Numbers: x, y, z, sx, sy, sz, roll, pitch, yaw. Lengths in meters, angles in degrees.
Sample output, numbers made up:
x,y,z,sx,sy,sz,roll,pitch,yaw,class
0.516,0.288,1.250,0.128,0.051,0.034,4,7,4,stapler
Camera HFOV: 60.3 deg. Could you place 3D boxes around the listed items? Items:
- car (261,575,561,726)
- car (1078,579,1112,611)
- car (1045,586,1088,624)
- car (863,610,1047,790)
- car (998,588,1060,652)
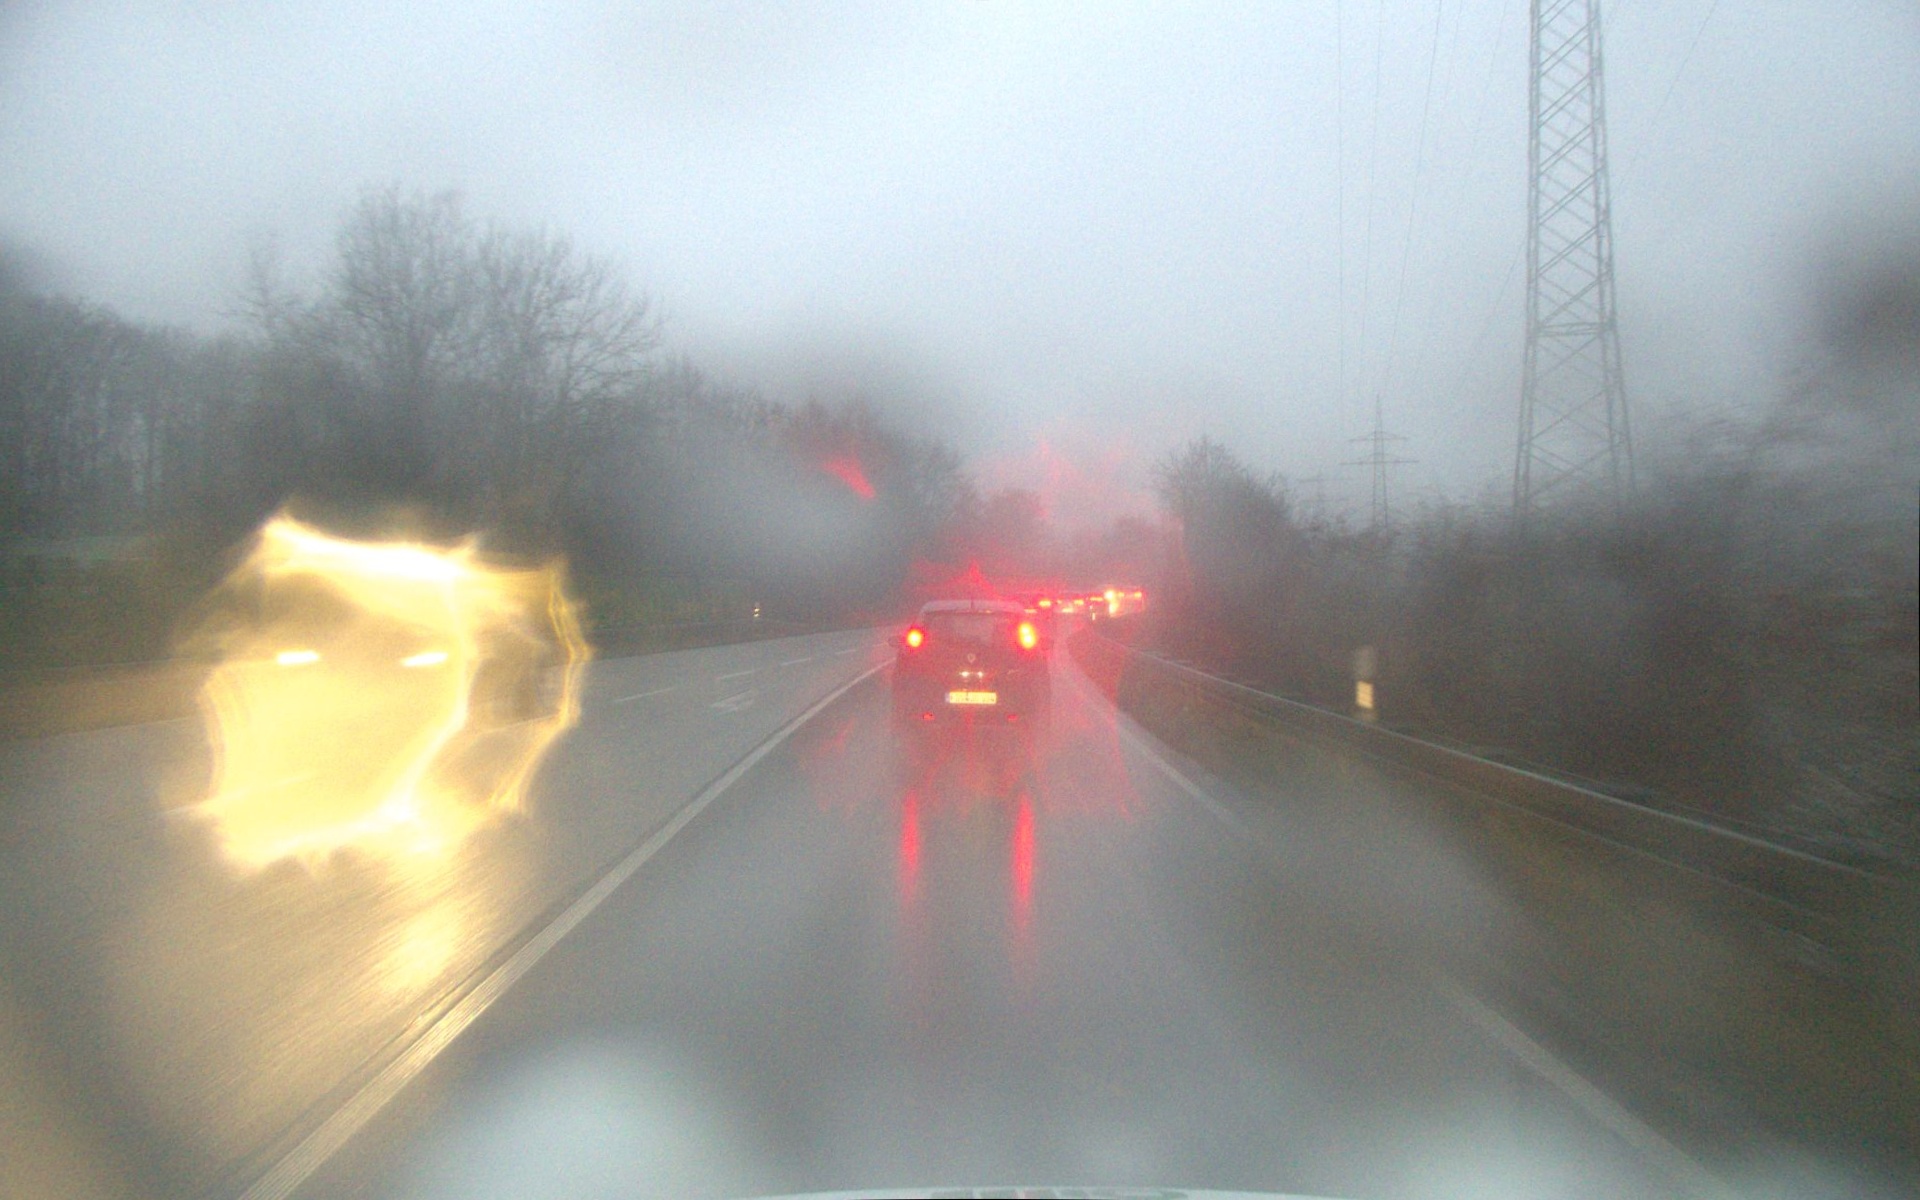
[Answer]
x,y,z,sx,sy,sz,roll,pitch,yaw,class
-6.124,0.503,19.047,1.825,1.527,4.523,0,0,2,car
8.130,-0.323,99.167,1.904,1.775,4.004,0,3,7,car
5.430,0.230,83.774,1.904,1.775,4.004,0,2,8,car
-0.017,0.987,18.161,1.695,1.559,4.043,-4,1,1,car
2.479,0.759,60.381,1.907,2.048,3.999,-6,-2,-1,car
